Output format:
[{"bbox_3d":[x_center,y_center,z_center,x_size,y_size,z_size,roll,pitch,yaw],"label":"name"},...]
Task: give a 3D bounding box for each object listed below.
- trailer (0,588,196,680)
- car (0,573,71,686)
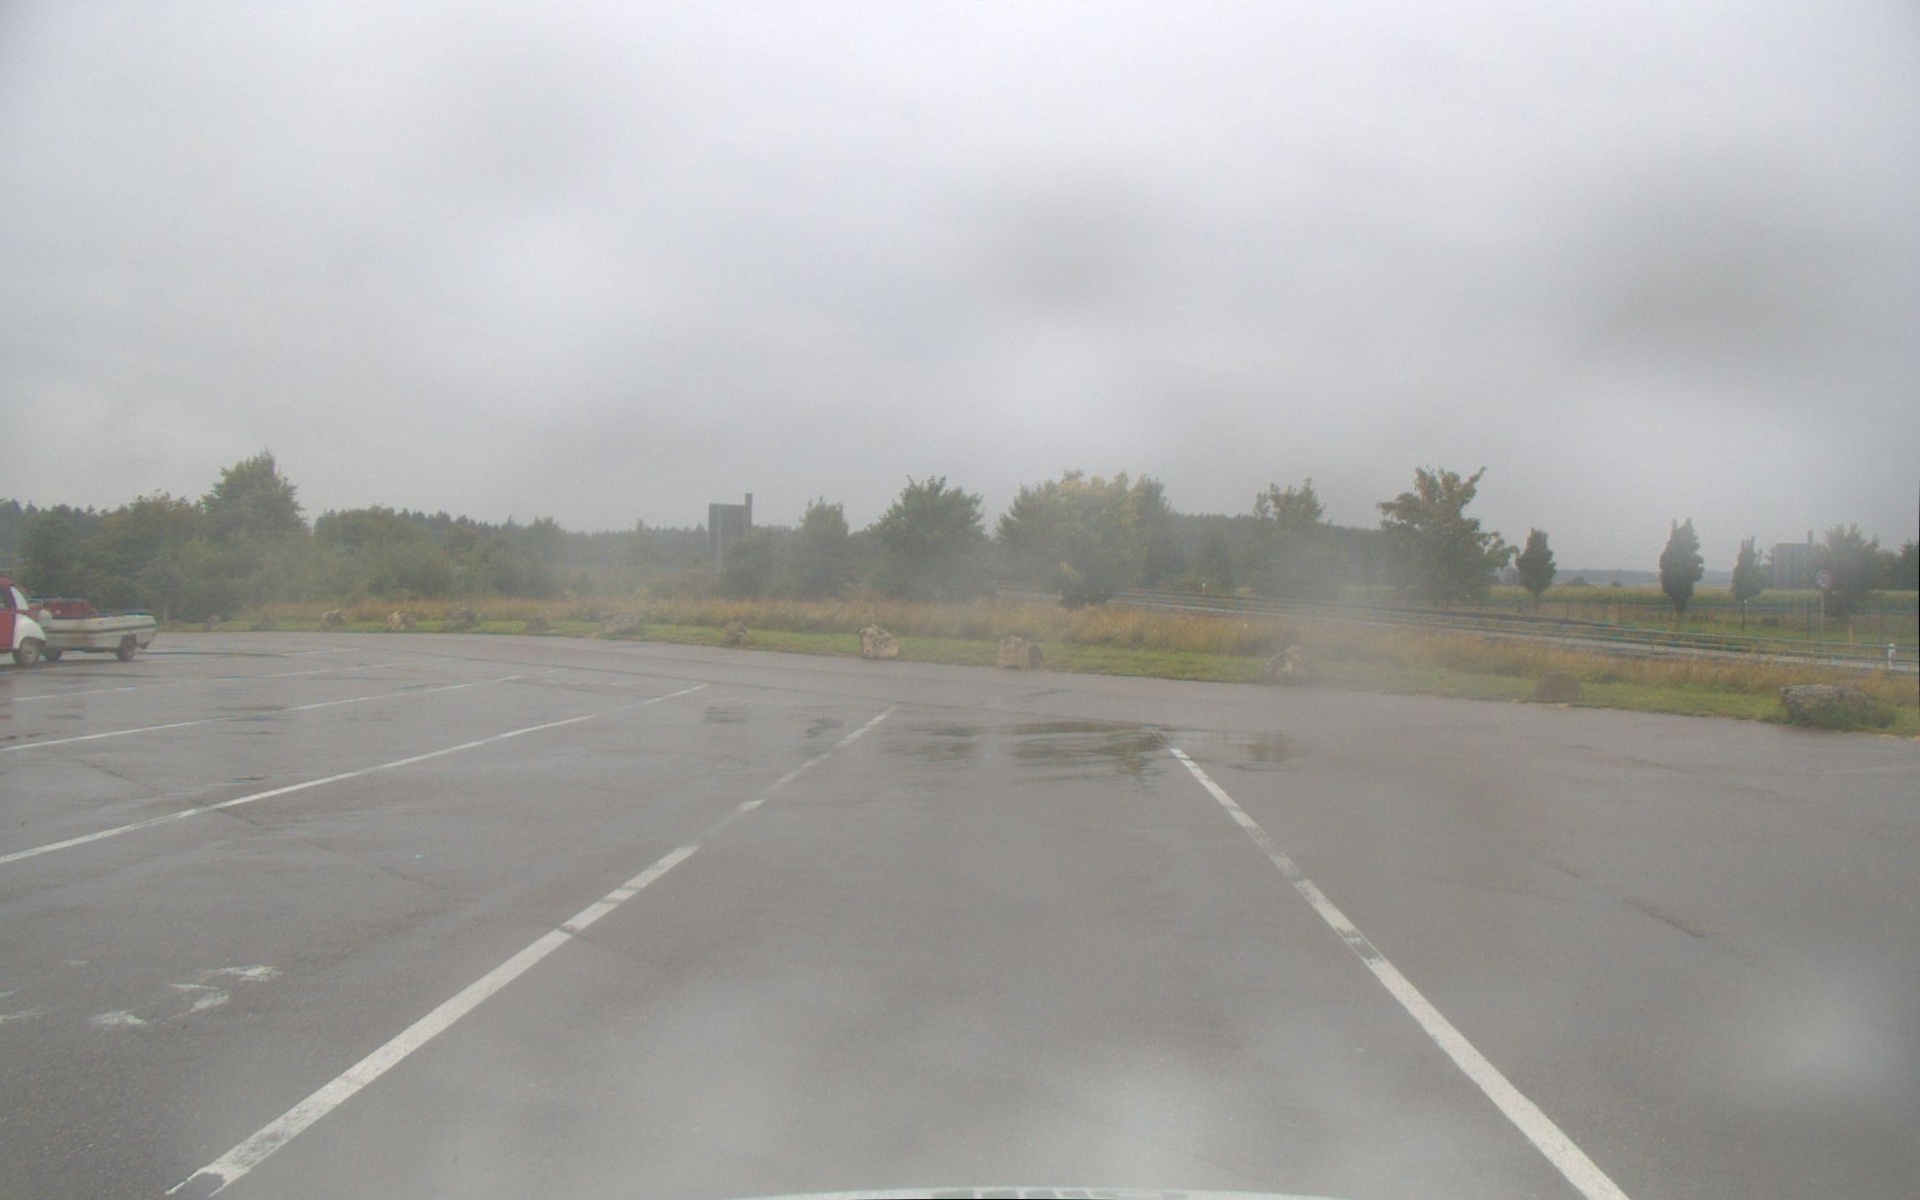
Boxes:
[{"bbox_3d":[-15.821,0.565,30.165,1.659,1.559,4.002,0,0,5],"label":"trailer"},{"bbox_3d":[-16.153,0.475,26.167,1.784,1.808,4.002,0,0,5],"label":"car"}]
